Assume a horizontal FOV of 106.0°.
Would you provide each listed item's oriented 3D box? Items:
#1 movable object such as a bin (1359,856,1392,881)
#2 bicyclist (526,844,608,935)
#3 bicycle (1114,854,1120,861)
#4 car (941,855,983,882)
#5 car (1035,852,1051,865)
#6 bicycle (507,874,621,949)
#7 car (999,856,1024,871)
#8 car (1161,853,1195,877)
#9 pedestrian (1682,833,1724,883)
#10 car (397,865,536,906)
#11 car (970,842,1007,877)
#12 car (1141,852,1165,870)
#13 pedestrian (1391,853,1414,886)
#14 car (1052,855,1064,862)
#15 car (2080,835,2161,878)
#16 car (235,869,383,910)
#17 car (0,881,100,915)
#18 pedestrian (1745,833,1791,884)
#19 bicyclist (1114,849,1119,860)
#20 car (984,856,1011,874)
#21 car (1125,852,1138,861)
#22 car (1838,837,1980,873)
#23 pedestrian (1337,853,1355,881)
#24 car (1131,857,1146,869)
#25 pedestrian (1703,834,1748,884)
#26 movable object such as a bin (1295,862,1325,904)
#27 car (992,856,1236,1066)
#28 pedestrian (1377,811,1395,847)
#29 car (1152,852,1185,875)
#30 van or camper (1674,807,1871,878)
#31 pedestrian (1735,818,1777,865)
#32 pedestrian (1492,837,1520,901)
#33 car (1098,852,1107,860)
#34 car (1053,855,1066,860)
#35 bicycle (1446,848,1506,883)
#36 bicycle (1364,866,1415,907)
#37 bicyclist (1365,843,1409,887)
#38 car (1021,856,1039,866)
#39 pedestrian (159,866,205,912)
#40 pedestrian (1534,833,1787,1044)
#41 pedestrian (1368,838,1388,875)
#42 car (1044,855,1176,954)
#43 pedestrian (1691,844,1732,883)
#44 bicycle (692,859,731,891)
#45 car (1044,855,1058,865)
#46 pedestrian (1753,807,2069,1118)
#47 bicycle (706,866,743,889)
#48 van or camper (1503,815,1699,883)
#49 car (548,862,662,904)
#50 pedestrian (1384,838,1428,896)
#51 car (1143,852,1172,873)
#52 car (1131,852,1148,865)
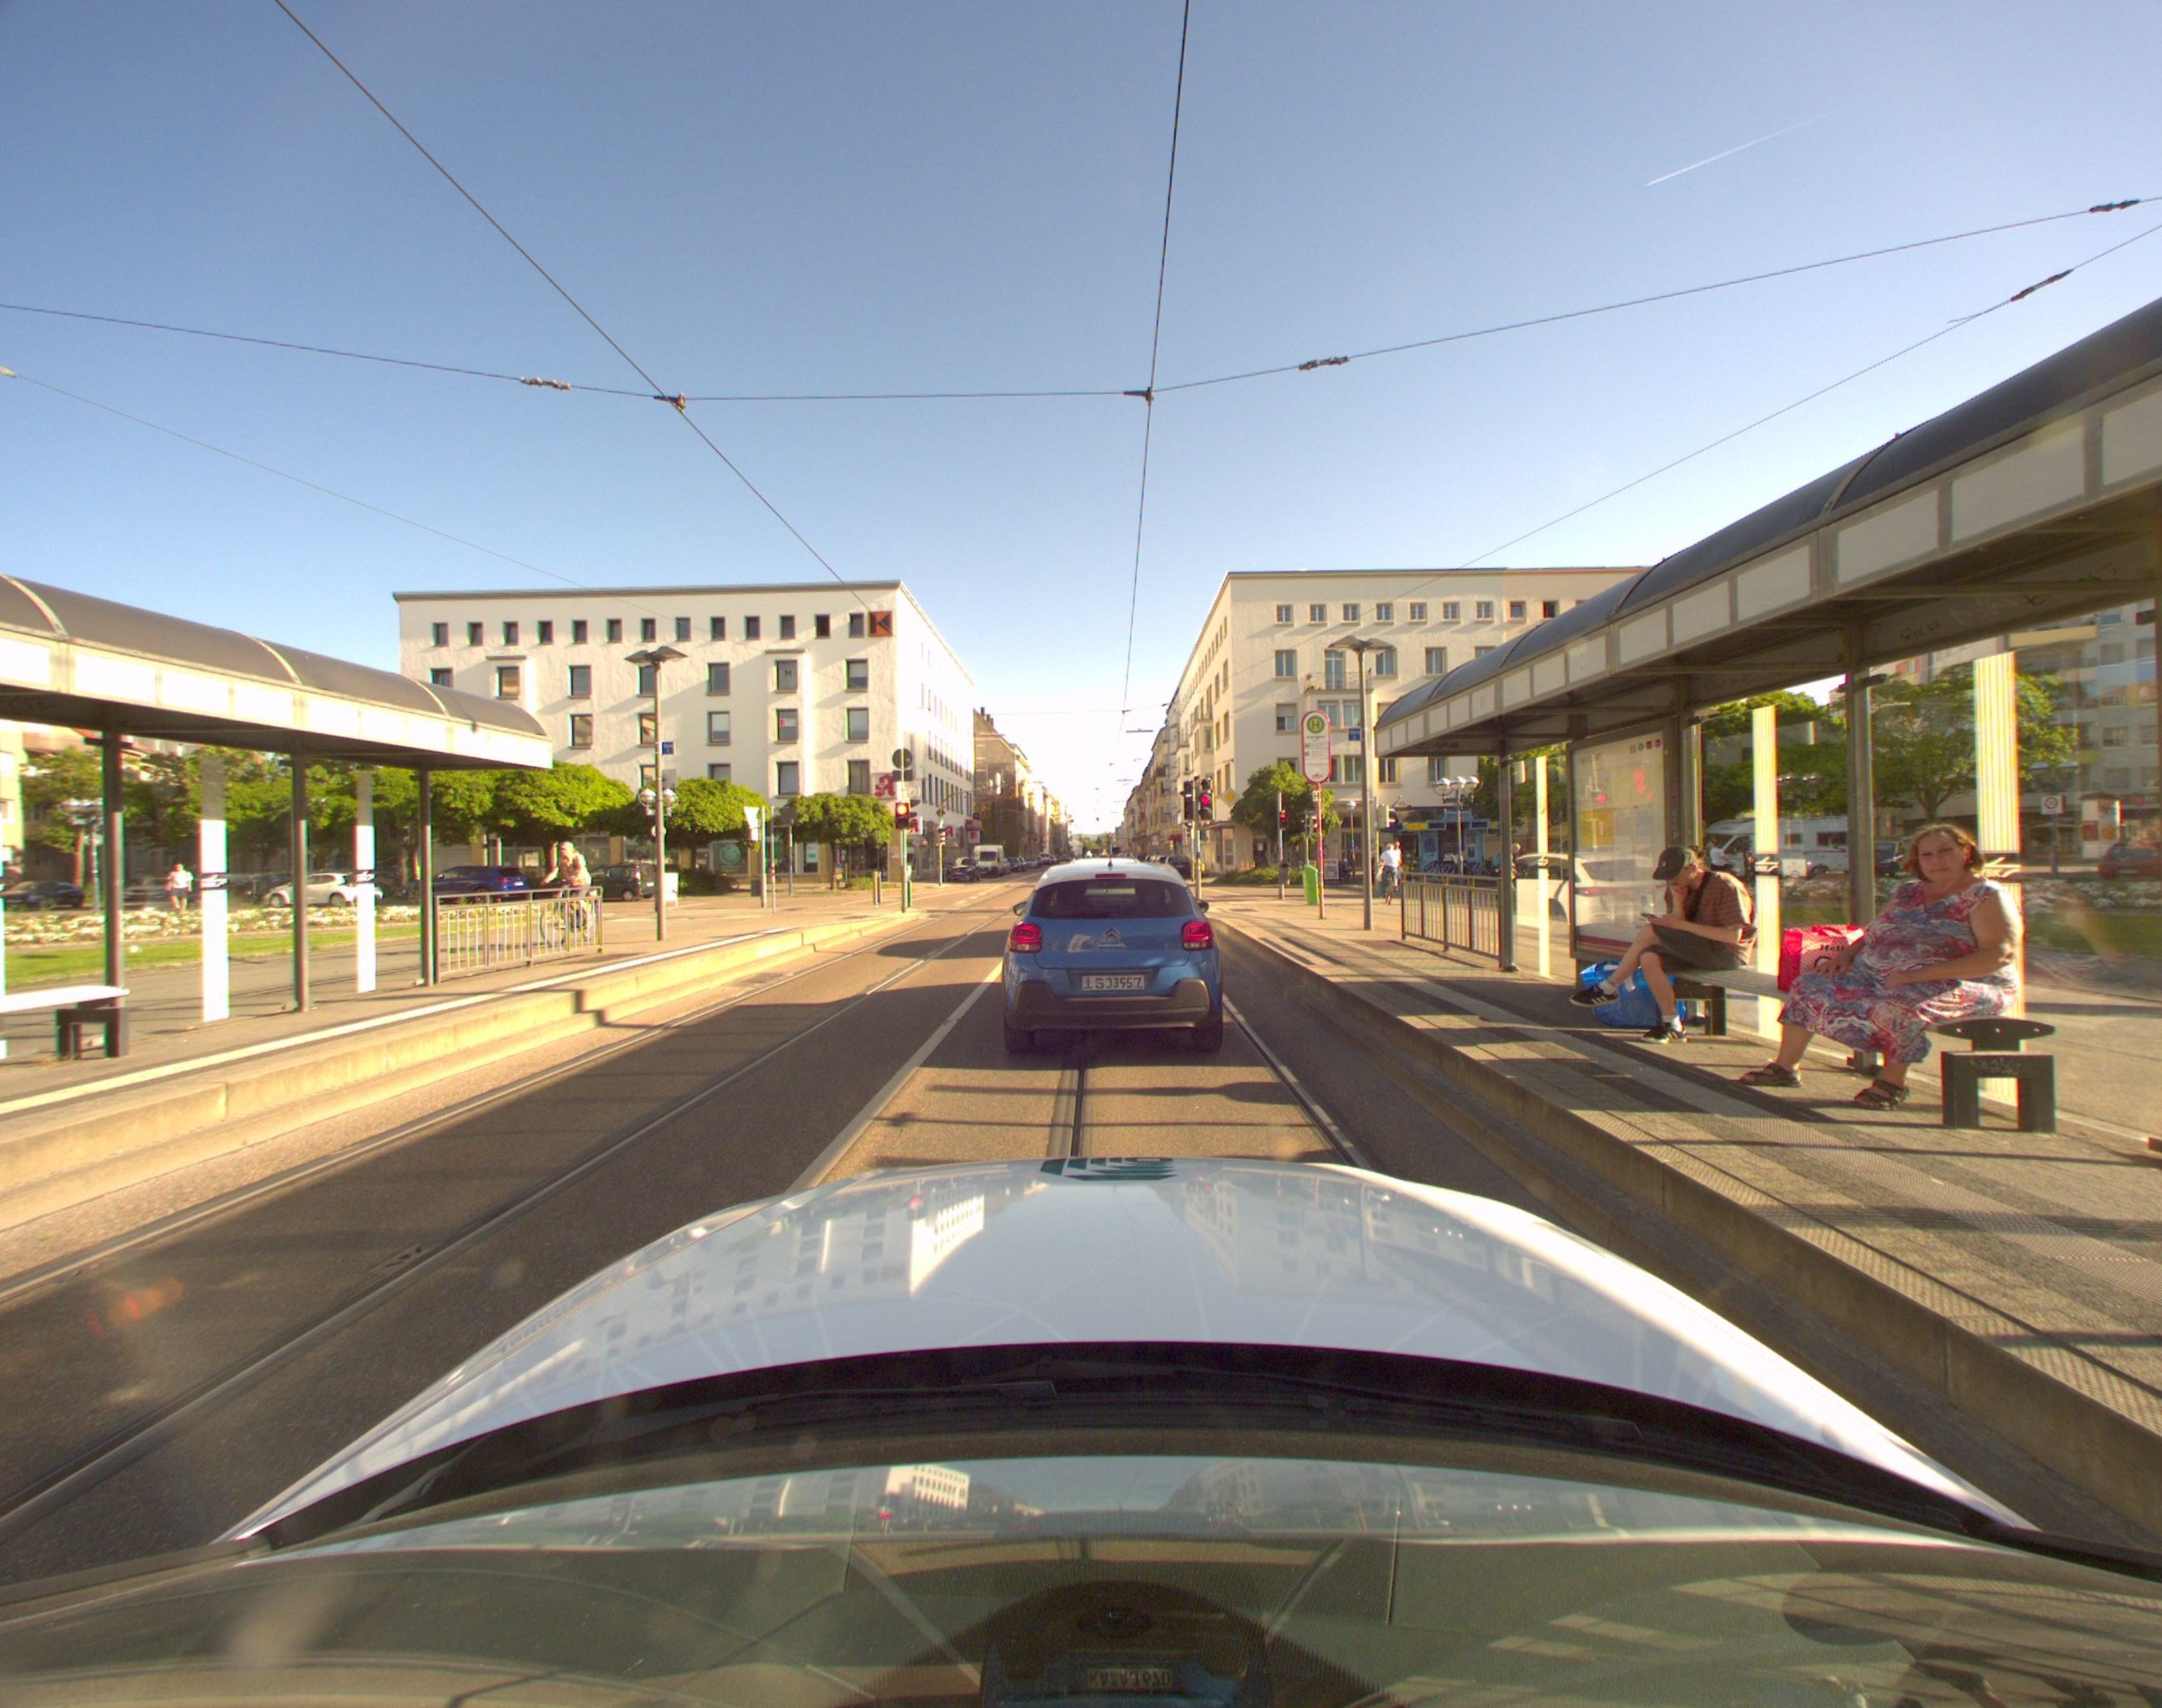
[{"bbox_3d":[14.466,0.697,40.035,1.194,1.153,1.218,-1,0,2],"label":"movable object such as a bin"},{"bbox_3d":[-8.555,0.576,13.601,0.826,1.455,0.876,0,-1,-4],"label":"bicyclist"},{"bbox_3d":[6.722,0.645,152.289,0.916,1.389,3.133,-1,0,2],"label":"bicycle"},{"bbox_3d":[-7.652,0.916,52.745,1.987,1.569,4.403,2,-1,1],"label":"car"},{"bbox_3d":[-5.868,0.703,127.121,1.997,2.014,4.694,0,-1,4],"label":"car"},{"bbox_3d":[-8.551,0.913,13.580,0.726,1.113,1.974,-1,0,-4],"label":"bicycle"},{"bbox_3d":[-6.677,0.913,78.471,1.987,1.398,4.157,0,-1,1],"label":"car"},{"bbox_3d":[6.204,0.701,52.437,1.902,1.464,4.002,-1,0,2],"label":"car"},{"bbox_3d":[21.303,0.126,27.900,0.897,1.685,0.696,-1,0,5],"label":"pedestrian"},{"bbox_3d":[-27.184,1.357,36.162,4.591,1.662,1.999,-1,0,-1],"label":"car"},{"bbox_3d":[-7.120,0.406,63.104,2.078,2.542,6.206,0,0,1],"label":"car"},{"bbox_3d":[6.423,0.624,73.256,1.986,1.464,4.002,-1,0,2],"label":"car"},{"bbox_3d":[14.533,0.706,36.828,0.727,1.409,0.755,-1,3,2],"label":"pedestrian"},{"bbox_3d":[-4.390,0.839,154.470,1.986,1.156,4.002,-1,0,2],"label":"car"},{"bbox_3d":[38.608,0.056,29.037,3.983,1.486,1.995,-1,0,-7],"label":"car"},{"bbox_3d":[-33.513,1.504,35.457,4.591,1.606,1.855,-1,0,-1],"label":"car"},{"bbox_3d":[-52.256,2.173,41.092,1.925,1.494,4.314,0,-1,-27],"label":"car"},{"bbox_3d":[22.073,0.141,26.178,0.897,1.585,0.663,-1,0,5],"label":"pedestrian"},{"bbox_3d":[6.676,0.037,152.355,0.806,2.014,0.923,0,-1,2],"label":"bicyclist"},{"bbox_3d":[-7.104,0.933,69.859,1.881,1.496,3.562,0,-1,1],"label":"car"},{"bbox_3d":[8.299,0.436,133.237,1.986,1.464,4.002,-1,0,2],"label":"car"},{"bbox_3d":[36.610,0.058,36.138,3.959,1.511,2.007,0,-1,13],"label":"car"},{"bbox_3d":[12.666,0.613,38.898,0.733,1.316,0.631,-1,0,25],"label":"pedestrian"},{"bbox_3d":[7.726,1.199,109.487,1.985,1.552,4.004,-1,0,4],"label":"car"},{"bbox_3d":[20.922,0.149,26.443,0.897,1.585,0.663,-1,0,5],"label":"pedestrian"},{"bbox_3d":[4.349,0.546,15.502,0.447,0.786,0.489,-1,0,4],"label":"movable object such as a bin"},{"bbox_3d":[0.289,0.763,7.707,1.721,1.482,3.828,0,0,2],"label":"car"},{"bbox_3d":[15.631,-1.276,41.720,0.650,1.839,0.660,-1,0,5],"label":"pedestrian"},{"bbox_3d":[6.082,0.650,57.102,1.986,1.464,4.002,-1,0,2],"label":"car"},{"bbox_3d":[30.123,-0.473,35.693,6.375,2.839,2.381,-1,0,5],"label":"van or camper"},{"bbox_3d":[23.235,-0.413,28.044,0.897,1.585,0.663,-1,0,5],"label":"pedestrian"},{"bbox_3d":[11.852,0.417,22.706,0.554,1.745,0.528,0,-1,12],"label":"pedestrian"},{"bbox_3d":[5.143,0.501,191.585,1.986,1.772,4.002,-1,0,2],"label":"car"},{"bbox_3d":[-4.849,0.763,185.196,1.981,1.156,4.528,-1,0,11],"label":"car"},{"bbox_3d":[17.720,0.515,36.563,2.376,1.531,0.726,1,0,0],"label":"bicycle"},{"bbox_3d":[8.741,0.902,23.157,0.715,1.061,2.325,1,0,4],"label":"bicycle"},{"bbox_3d":[8.753,0.316,23.349,0.946,1.225,0.935,1,0,4],"label":"bicyclist"},{"bbox_3d":[-6.425,0.903,103.478,1.987,1.325,3.923,0,-1,1],"label":"car"},{"bbox_3d":[-36.304,1.416,32.889,0.938,1.817,0.872,-1,0,13],"label":"pedestrian"},{"bbox_3d":[3.719,0.505,5.324,0.995,1.225,0.923,2,-1,1],"label":"pedestrian"},{"bbox_3d":[15.379,0.130,42.237,0.781,1.839,0.679,-1,0,5],"label":"pedestrian"},{"bbox_3d":[0.503,0.760,14.595,1.977,1.464,4.817,0,0,2],"label":"car"},{"bbox_3d":[21.081,0.319,27.244,0.896,1.279,0.606,-1,0,7],"label":"pedestrian"},{"bbox_3d":[-19.829,1.108,43.736,0.614,1.607,2.625,-1,0,6],"label":"bicycle"},{"bbox_3d":[-5.099,0.994,136.965,1.946,1.552,3.942,0,-1,4],"label":"car"},{"bbox_3d":[3.900,0.478,3.885,0.855,1.334,0.623,2,-1,1],"label":"pedestrian"},{"bbox_3d":[-19.106,1.247,43.694,0.615,1.190,2.624,-1,0,5],"label":"bicycle"},{"bbox_3d":[22.862,-0.233,36.064,7.093,2.747,2.372,-1,1,2],"label":"van or camper"},{"bbox_3d":[-21.243,1.273,36.420,3.973,1.706,1.826,-1,0,1],"label":"car"},{"bbox_3d":[10.984,0.439,27.549,0.978,1.878,1.128,-1,-1,-1],"label":"pedestrian"},{"bbox_3d":[5.904,0.660,62.944,1.986,1.501,4.002,-1,0,2],"label":"car"},{"bbox_3d":[7.331,0.551,102.049,1.986,1.464,4.507,-1,0,2],"label":"car"}]
